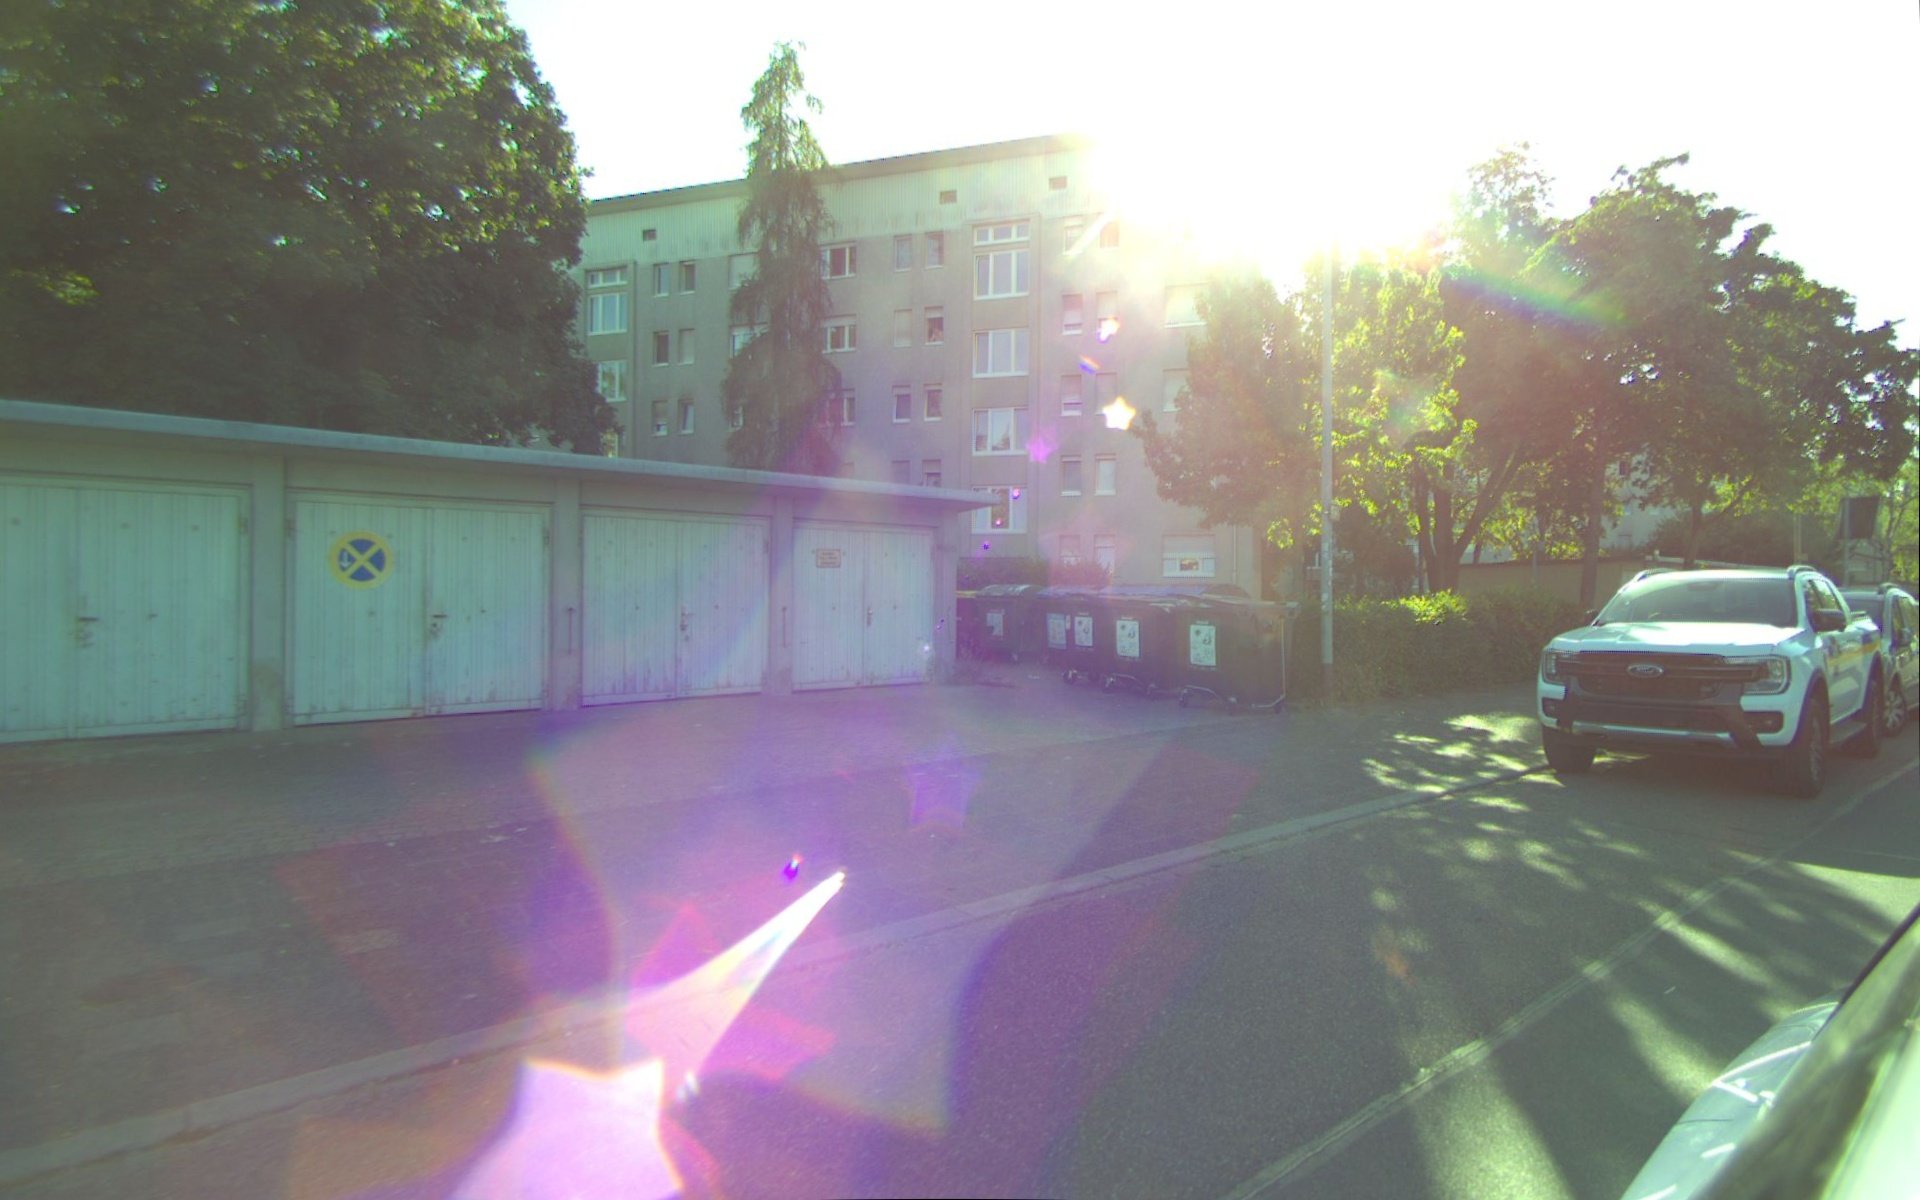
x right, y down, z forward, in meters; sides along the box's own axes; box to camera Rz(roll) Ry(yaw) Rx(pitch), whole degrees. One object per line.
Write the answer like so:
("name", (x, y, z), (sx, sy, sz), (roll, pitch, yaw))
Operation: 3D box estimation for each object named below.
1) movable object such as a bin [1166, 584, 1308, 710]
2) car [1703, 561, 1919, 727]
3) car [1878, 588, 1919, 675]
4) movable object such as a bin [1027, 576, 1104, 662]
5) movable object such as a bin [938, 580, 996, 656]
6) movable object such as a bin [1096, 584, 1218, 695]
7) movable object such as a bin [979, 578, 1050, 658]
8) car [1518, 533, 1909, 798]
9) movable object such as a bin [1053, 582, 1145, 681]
("movable object such as a bin", (3.243, 0.504, 11.931), (1.032, 1.364, 1.256), (-1, 1, -28))
("car", (11.498, 0.511, 13.188), (4.472, 1.814, 1.837), (1, -2, -39))
("car", (19.435, 0.563, 19.728), (3.953, 1.614, 1.807), (-1, -1, -41))
("movable object such as a bin", (1.831, 0.301, 17.607), (0.817, 1.434, 1.079), (-1, 1, -34))
("movable object such as a bin", (0.134, 0.338, 19.775), (0.694, 1.434, 0.899), (-1, 1, -39))
("movable object such as a bin", (2.601, 0.485, 13.476), (1.032, 1.364, 1.256), (-1, 1, -28))
("movable object such as a bin", (0.999, 0.311, 18.792), (0.817, 1.434, 1.079), (-1, 1, -34))
("car", (7.327, 0.490, 9.593), (5.182, 1.864, 1.909), (0, -2, -41))
("movable object such as a bin", (2.012, 0.430, 14.773), (0.847, 1.364, 1.081), (-1, 1, -28))
